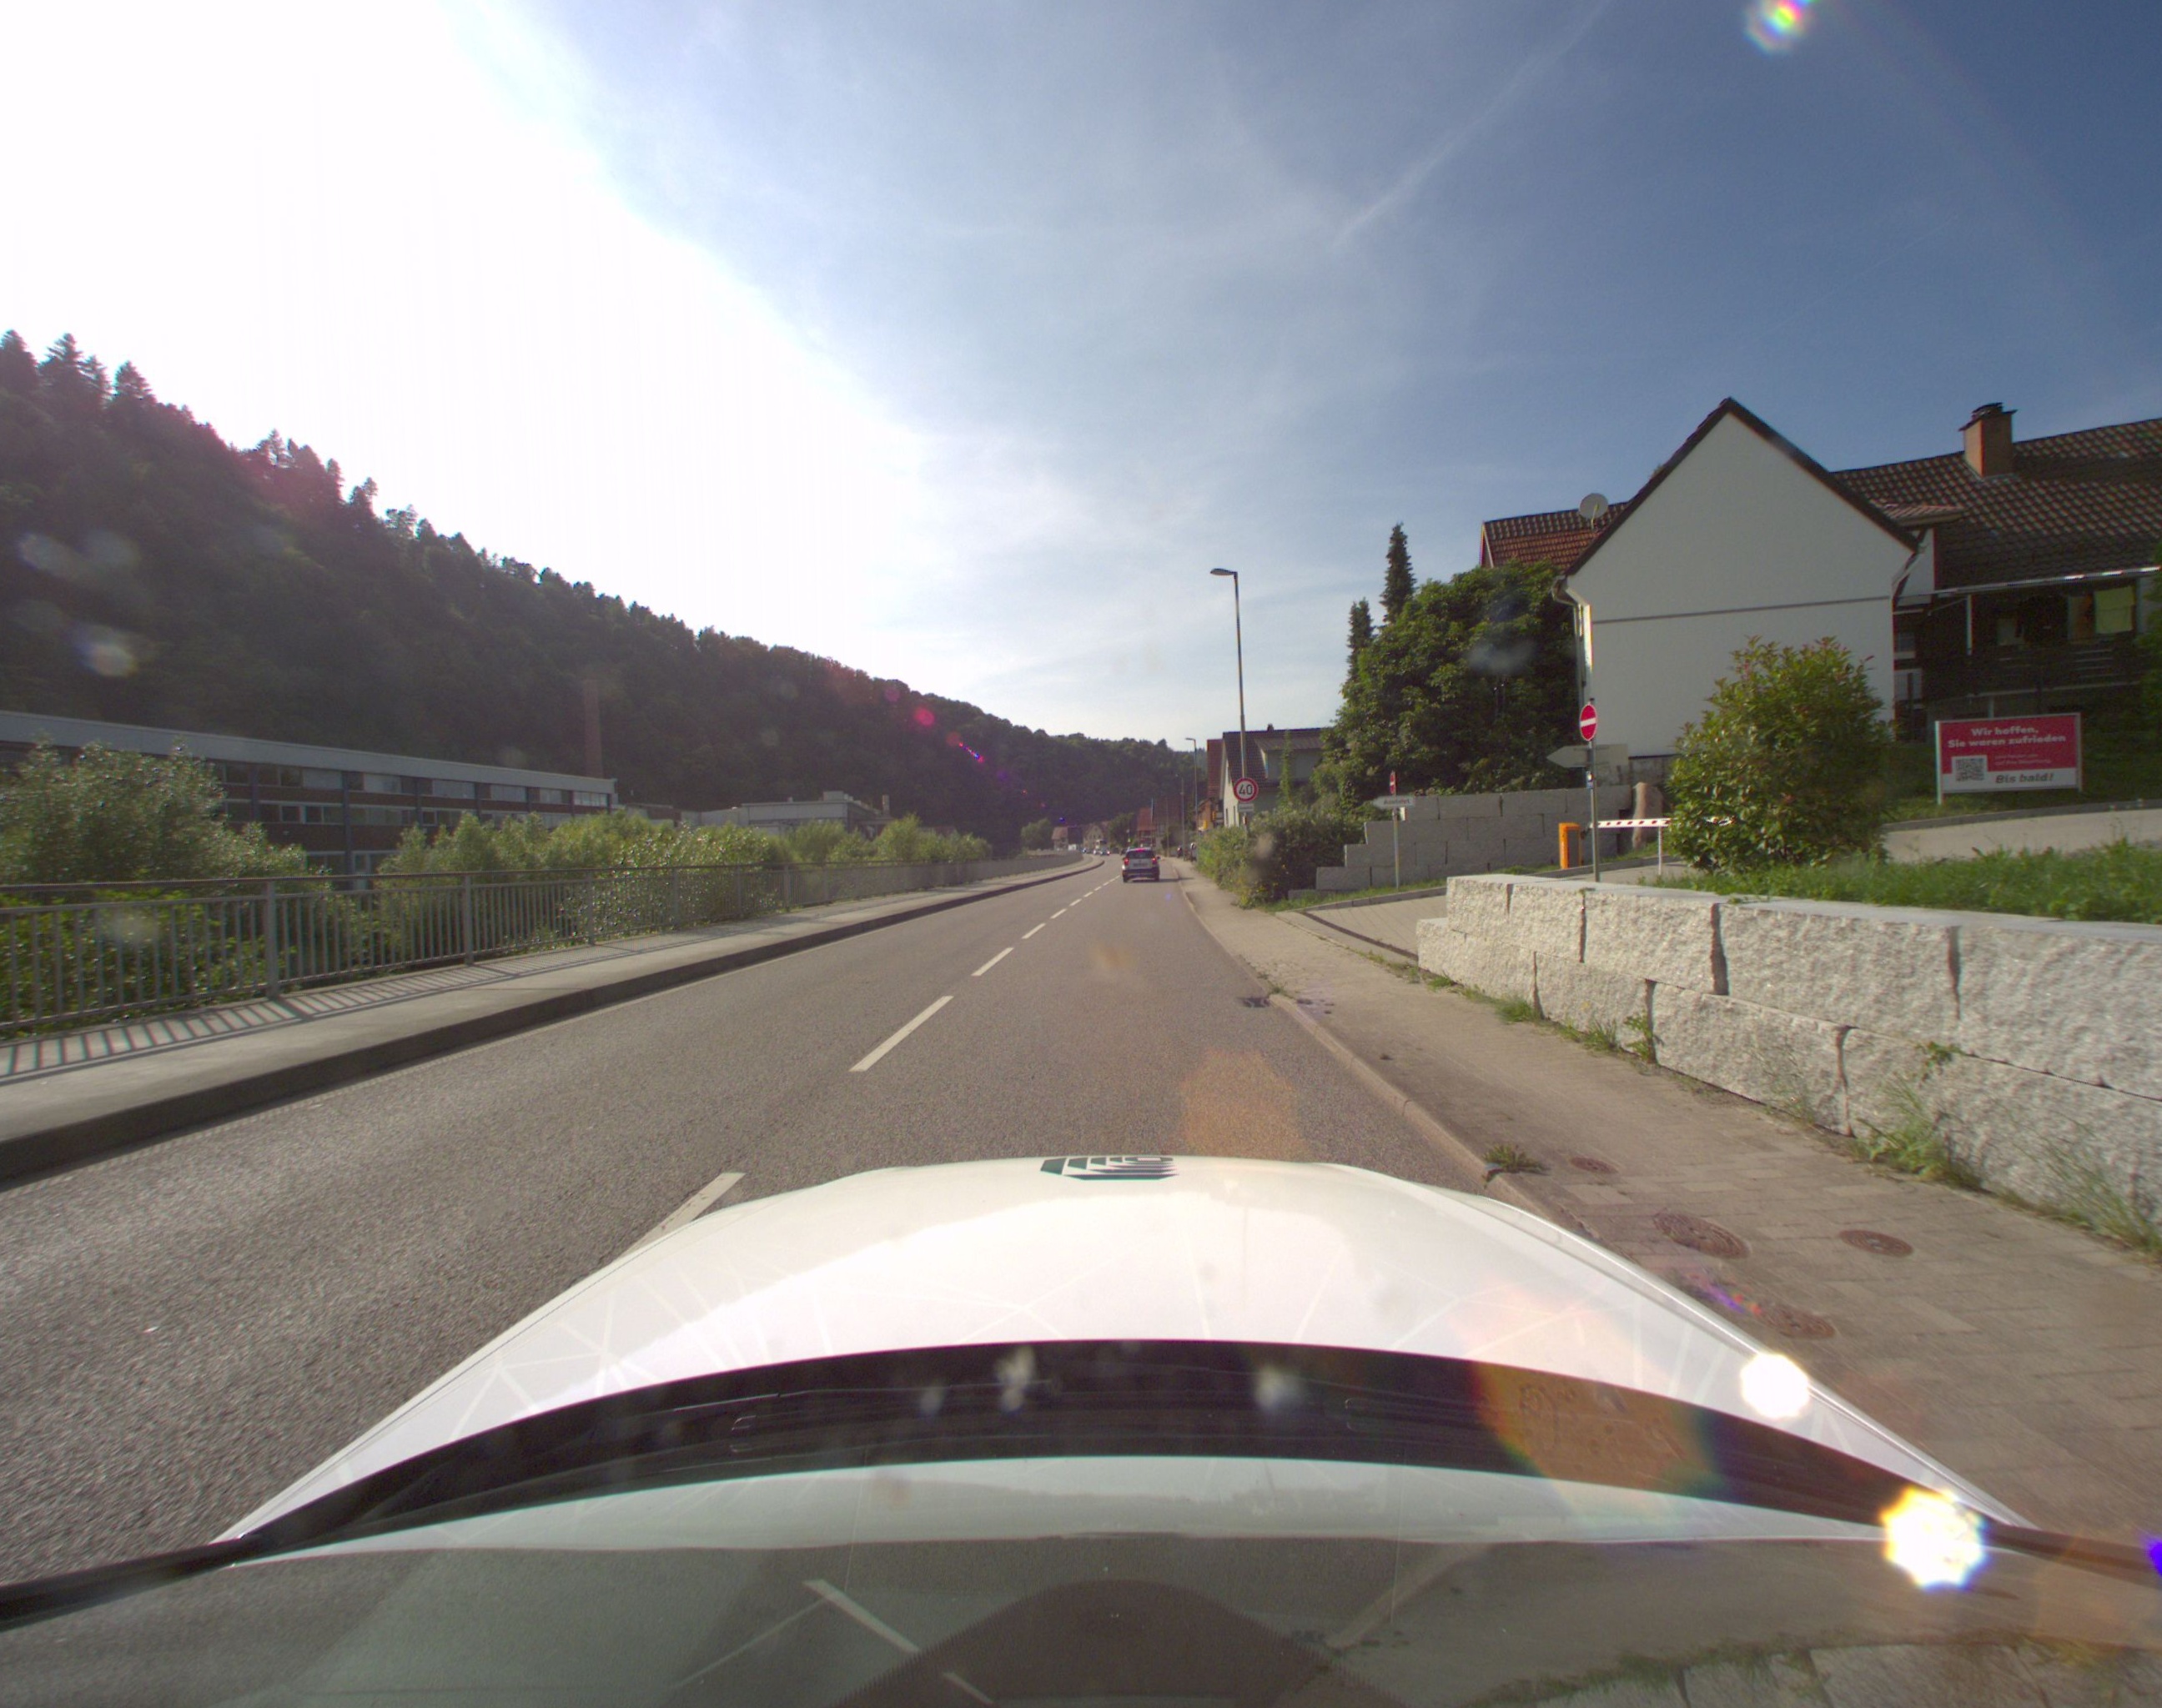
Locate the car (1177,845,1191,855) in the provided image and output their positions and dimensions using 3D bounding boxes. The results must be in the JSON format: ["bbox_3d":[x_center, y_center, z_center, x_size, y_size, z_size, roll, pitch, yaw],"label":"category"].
[{"bbox_3d":[12.392,-0.468,97.962,1.536,1.216,3.284,-2,-1,7],"label":"car"}]

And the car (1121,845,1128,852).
[{"bbox_3d":[8.568,-1.017,160.529,1.359,1.278,3.085,-2,-1,2],"label":"car"}]

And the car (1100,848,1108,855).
[{"bbox_3d":[4.561,-0.527,164.271,1.429,1.383,3.135,-2,1,0],"label":"car"}]

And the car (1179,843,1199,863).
[{"bbox_3d":[9.750,-0.091,73.379,1.600,1.646,3.660,-2,-1,9],"label":"car"}]

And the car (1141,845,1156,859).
[{"bbox_3d":[7.723,-0.257,93.798,1.615,1.541,3.282,-2,-1,4],"label":"car"}]

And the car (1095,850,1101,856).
[{"bbox_3d":[4.135,-0.191,195.113,1.359,1.278,3.084,-2,-1,1],"label":"car"}]

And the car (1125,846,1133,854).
[{"bbox_3d":[8.213,-0.614,140.200,1.359,1.278,3.085,-2,-1,3],"label":"car"}]

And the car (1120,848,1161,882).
[{"bbox_3d":[3.026,0.512,40.825,1.851,1.544,4.381,-2,0,6],"label":"car"}]

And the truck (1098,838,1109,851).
[{"bbox_3d":[6.111,-2.632,221.611,2.719,3.374,6.481,-2,1,2],"label":"truck"}]

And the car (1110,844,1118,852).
[{"bbox_3d":[7.655,-1.443,189.739,1.666,1.752,3.453,-2,1,5],"label":"car"}]

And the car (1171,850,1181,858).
[{"bbox_3d":[12.349,-0.034,105.805,1.290,0.974,2.927,-2,-1,7],"label":"car"}]

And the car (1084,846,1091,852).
[{"bbox_3d":[1.763,-1.450,230.065,1.744,1.544,3.997,-2,1,-2],"label":"car"}]
